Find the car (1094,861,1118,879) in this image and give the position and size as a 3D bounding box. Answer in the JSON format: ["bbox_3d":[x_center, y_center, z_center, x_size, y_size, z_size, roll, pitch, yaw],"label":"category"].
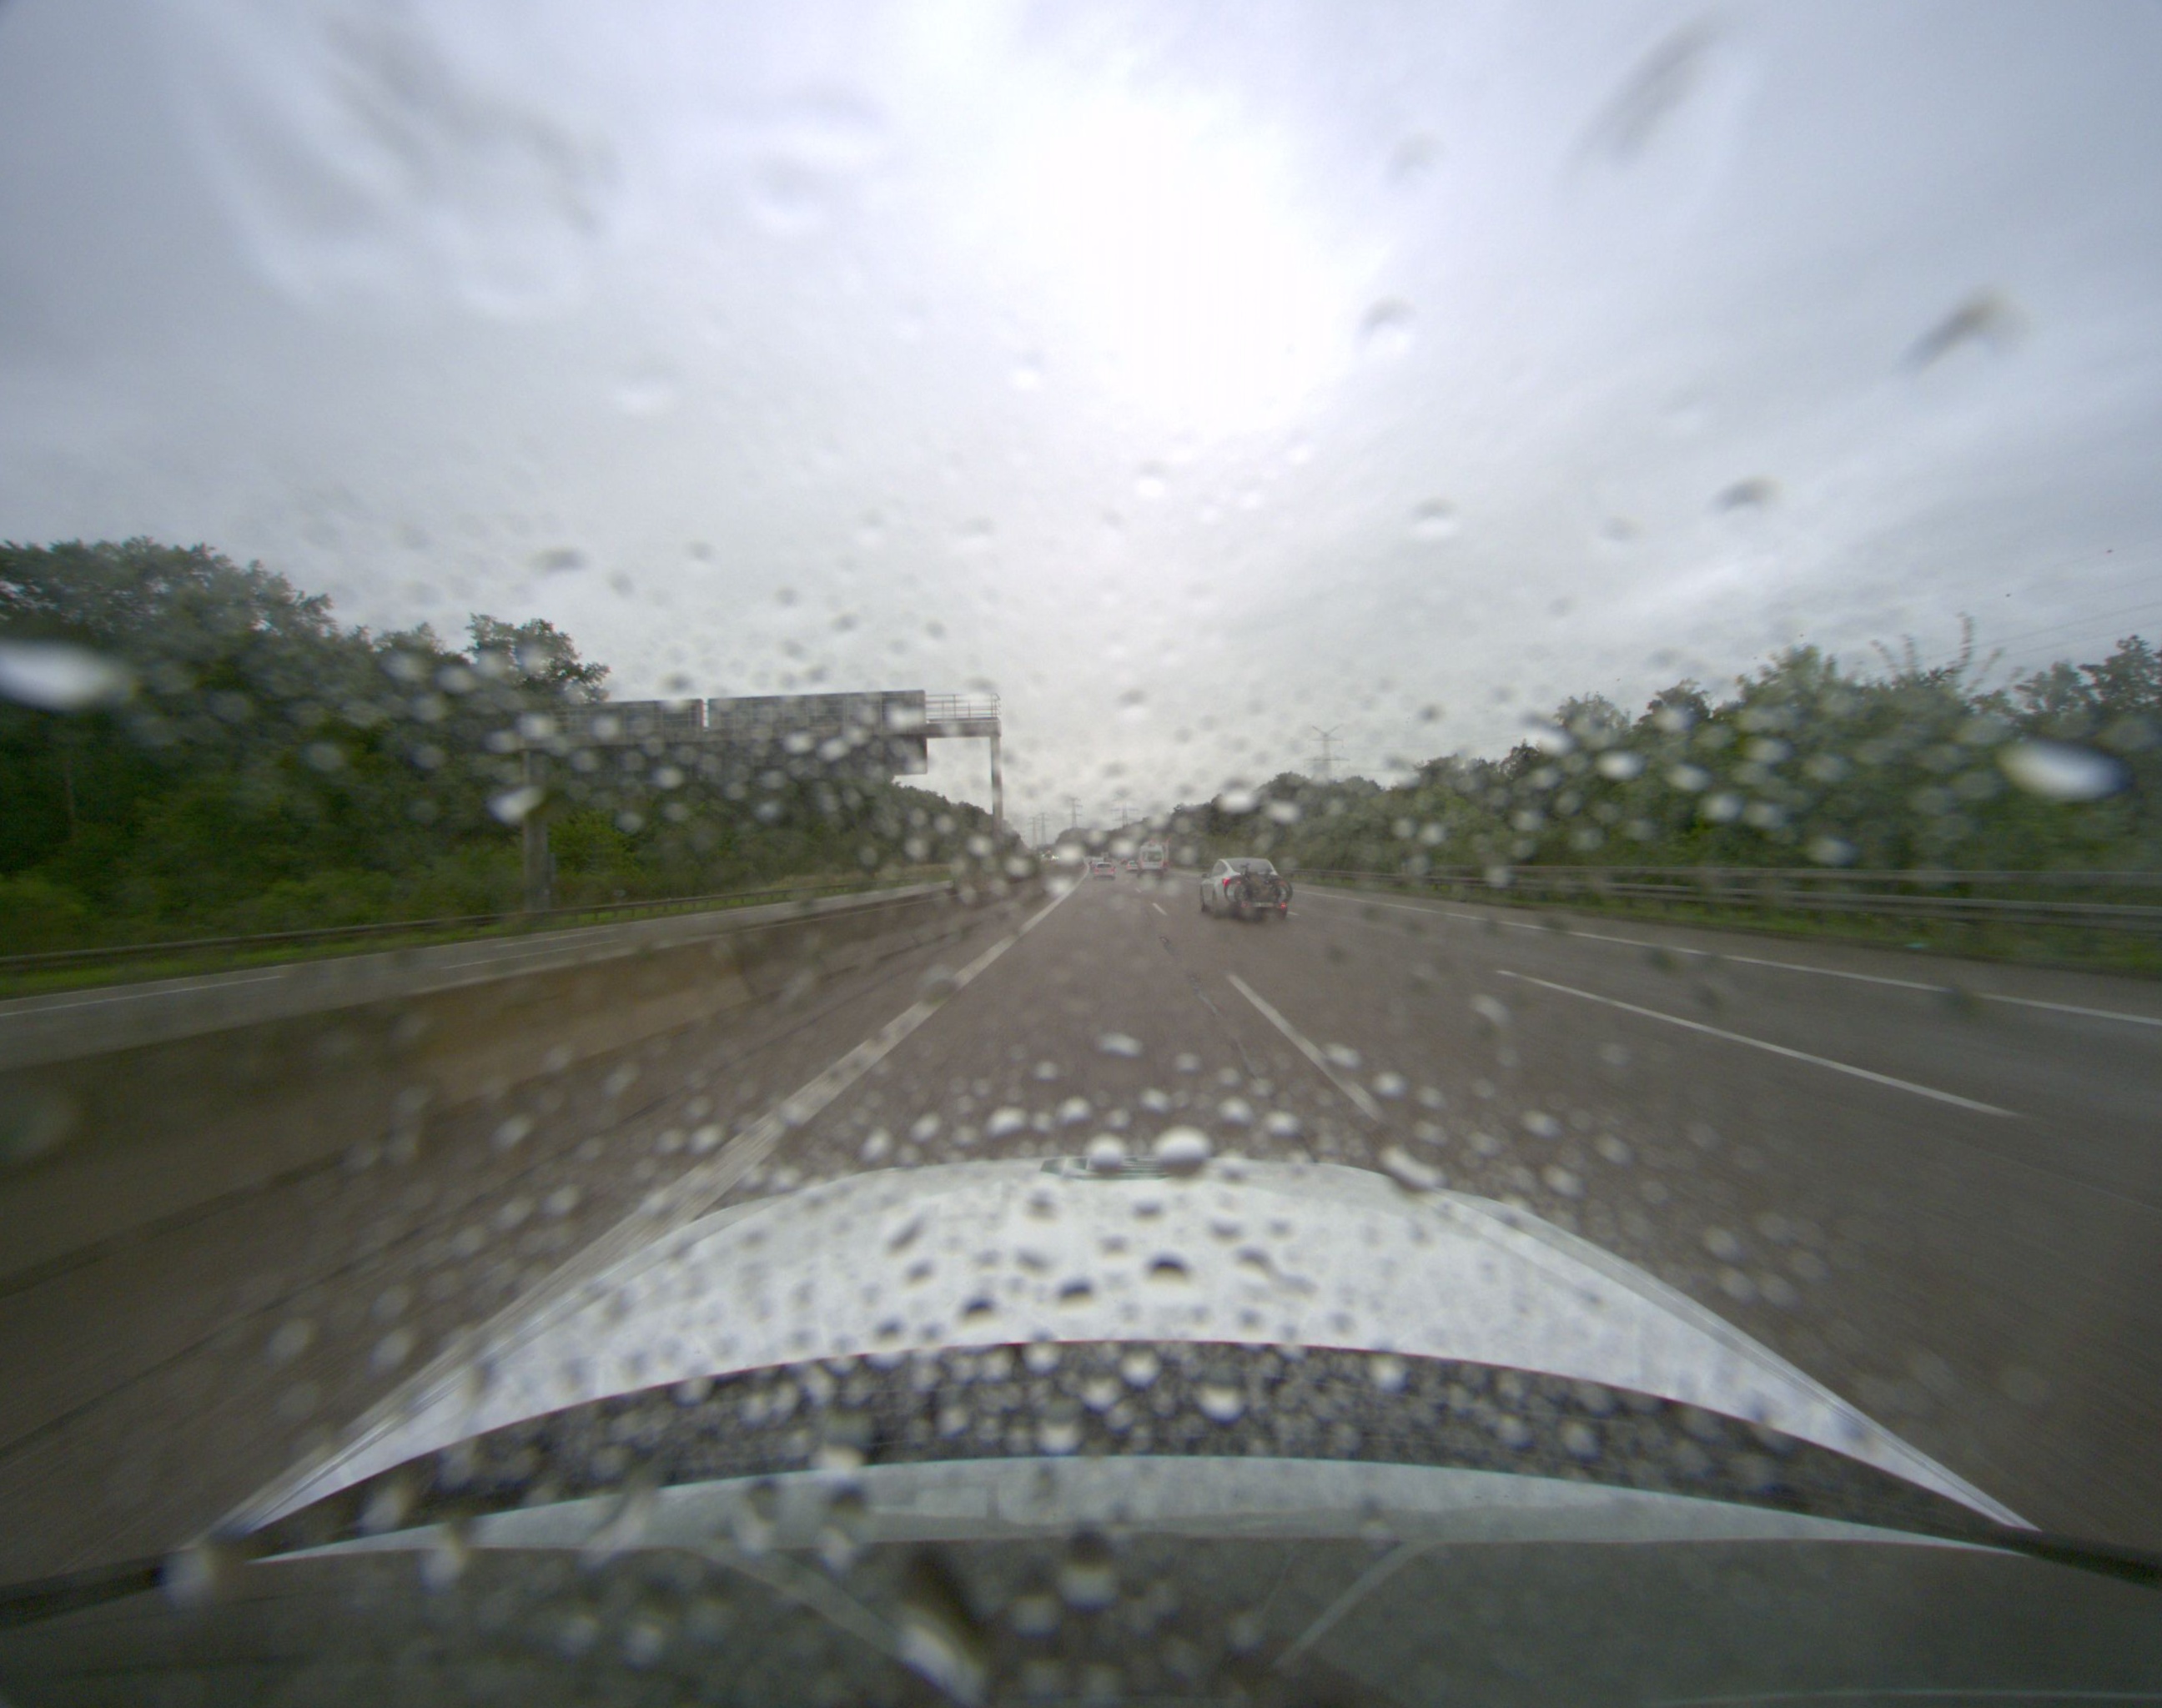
[{"bbox_3d":[2.060,1.294,66.561,1.860,1.288,4.001,-4,-1,2],"label":"car"}]

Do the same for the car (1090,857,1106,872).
[{"bbox_3d":[2.118,1.243,99.713,1.839,1.772,4.001,0,-1,2],"label":"car"}]

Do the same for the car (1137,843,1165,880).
[{"bbox_3d":[5.782,0.661,67.874,1.985,2.864,4.003,-4,-1,3],"label":"car"}]

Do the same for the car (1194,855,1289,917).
[{"bbox_3d":[4.464,0.846,23.371,1.853,1.568,4.965,-1,0,1],"label":"car"}]

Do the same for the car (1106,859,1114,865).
[{"bbox_3d":[7.633,2.186,215.031,1.986,1.574,4.001,-3,-1,2],"label":"car"}]

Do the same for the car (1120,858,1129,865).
[{"bbox_3d":[10.577,1.830,199.202,1.986,1.486,4.001,-4,-1,1],"label":"car"}]

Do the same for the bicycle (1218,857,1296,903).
[{"bbox_3d":[4.379,0.649,20.399,1.747,1.091,0.914,-1,-2,0],"label":"bicycle"}]

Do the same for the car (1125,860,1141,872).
[{"bbox_3d":[6.413,1.428,100.512,1.849,1.422,4.003,-1,0,3],"label":"car"}]

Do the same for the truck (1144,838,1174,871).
[{"bbox_3d":[10.847,0.151,114.444,3.588,4.332,13.211,-2,-1,3],"label":"truck"}]
